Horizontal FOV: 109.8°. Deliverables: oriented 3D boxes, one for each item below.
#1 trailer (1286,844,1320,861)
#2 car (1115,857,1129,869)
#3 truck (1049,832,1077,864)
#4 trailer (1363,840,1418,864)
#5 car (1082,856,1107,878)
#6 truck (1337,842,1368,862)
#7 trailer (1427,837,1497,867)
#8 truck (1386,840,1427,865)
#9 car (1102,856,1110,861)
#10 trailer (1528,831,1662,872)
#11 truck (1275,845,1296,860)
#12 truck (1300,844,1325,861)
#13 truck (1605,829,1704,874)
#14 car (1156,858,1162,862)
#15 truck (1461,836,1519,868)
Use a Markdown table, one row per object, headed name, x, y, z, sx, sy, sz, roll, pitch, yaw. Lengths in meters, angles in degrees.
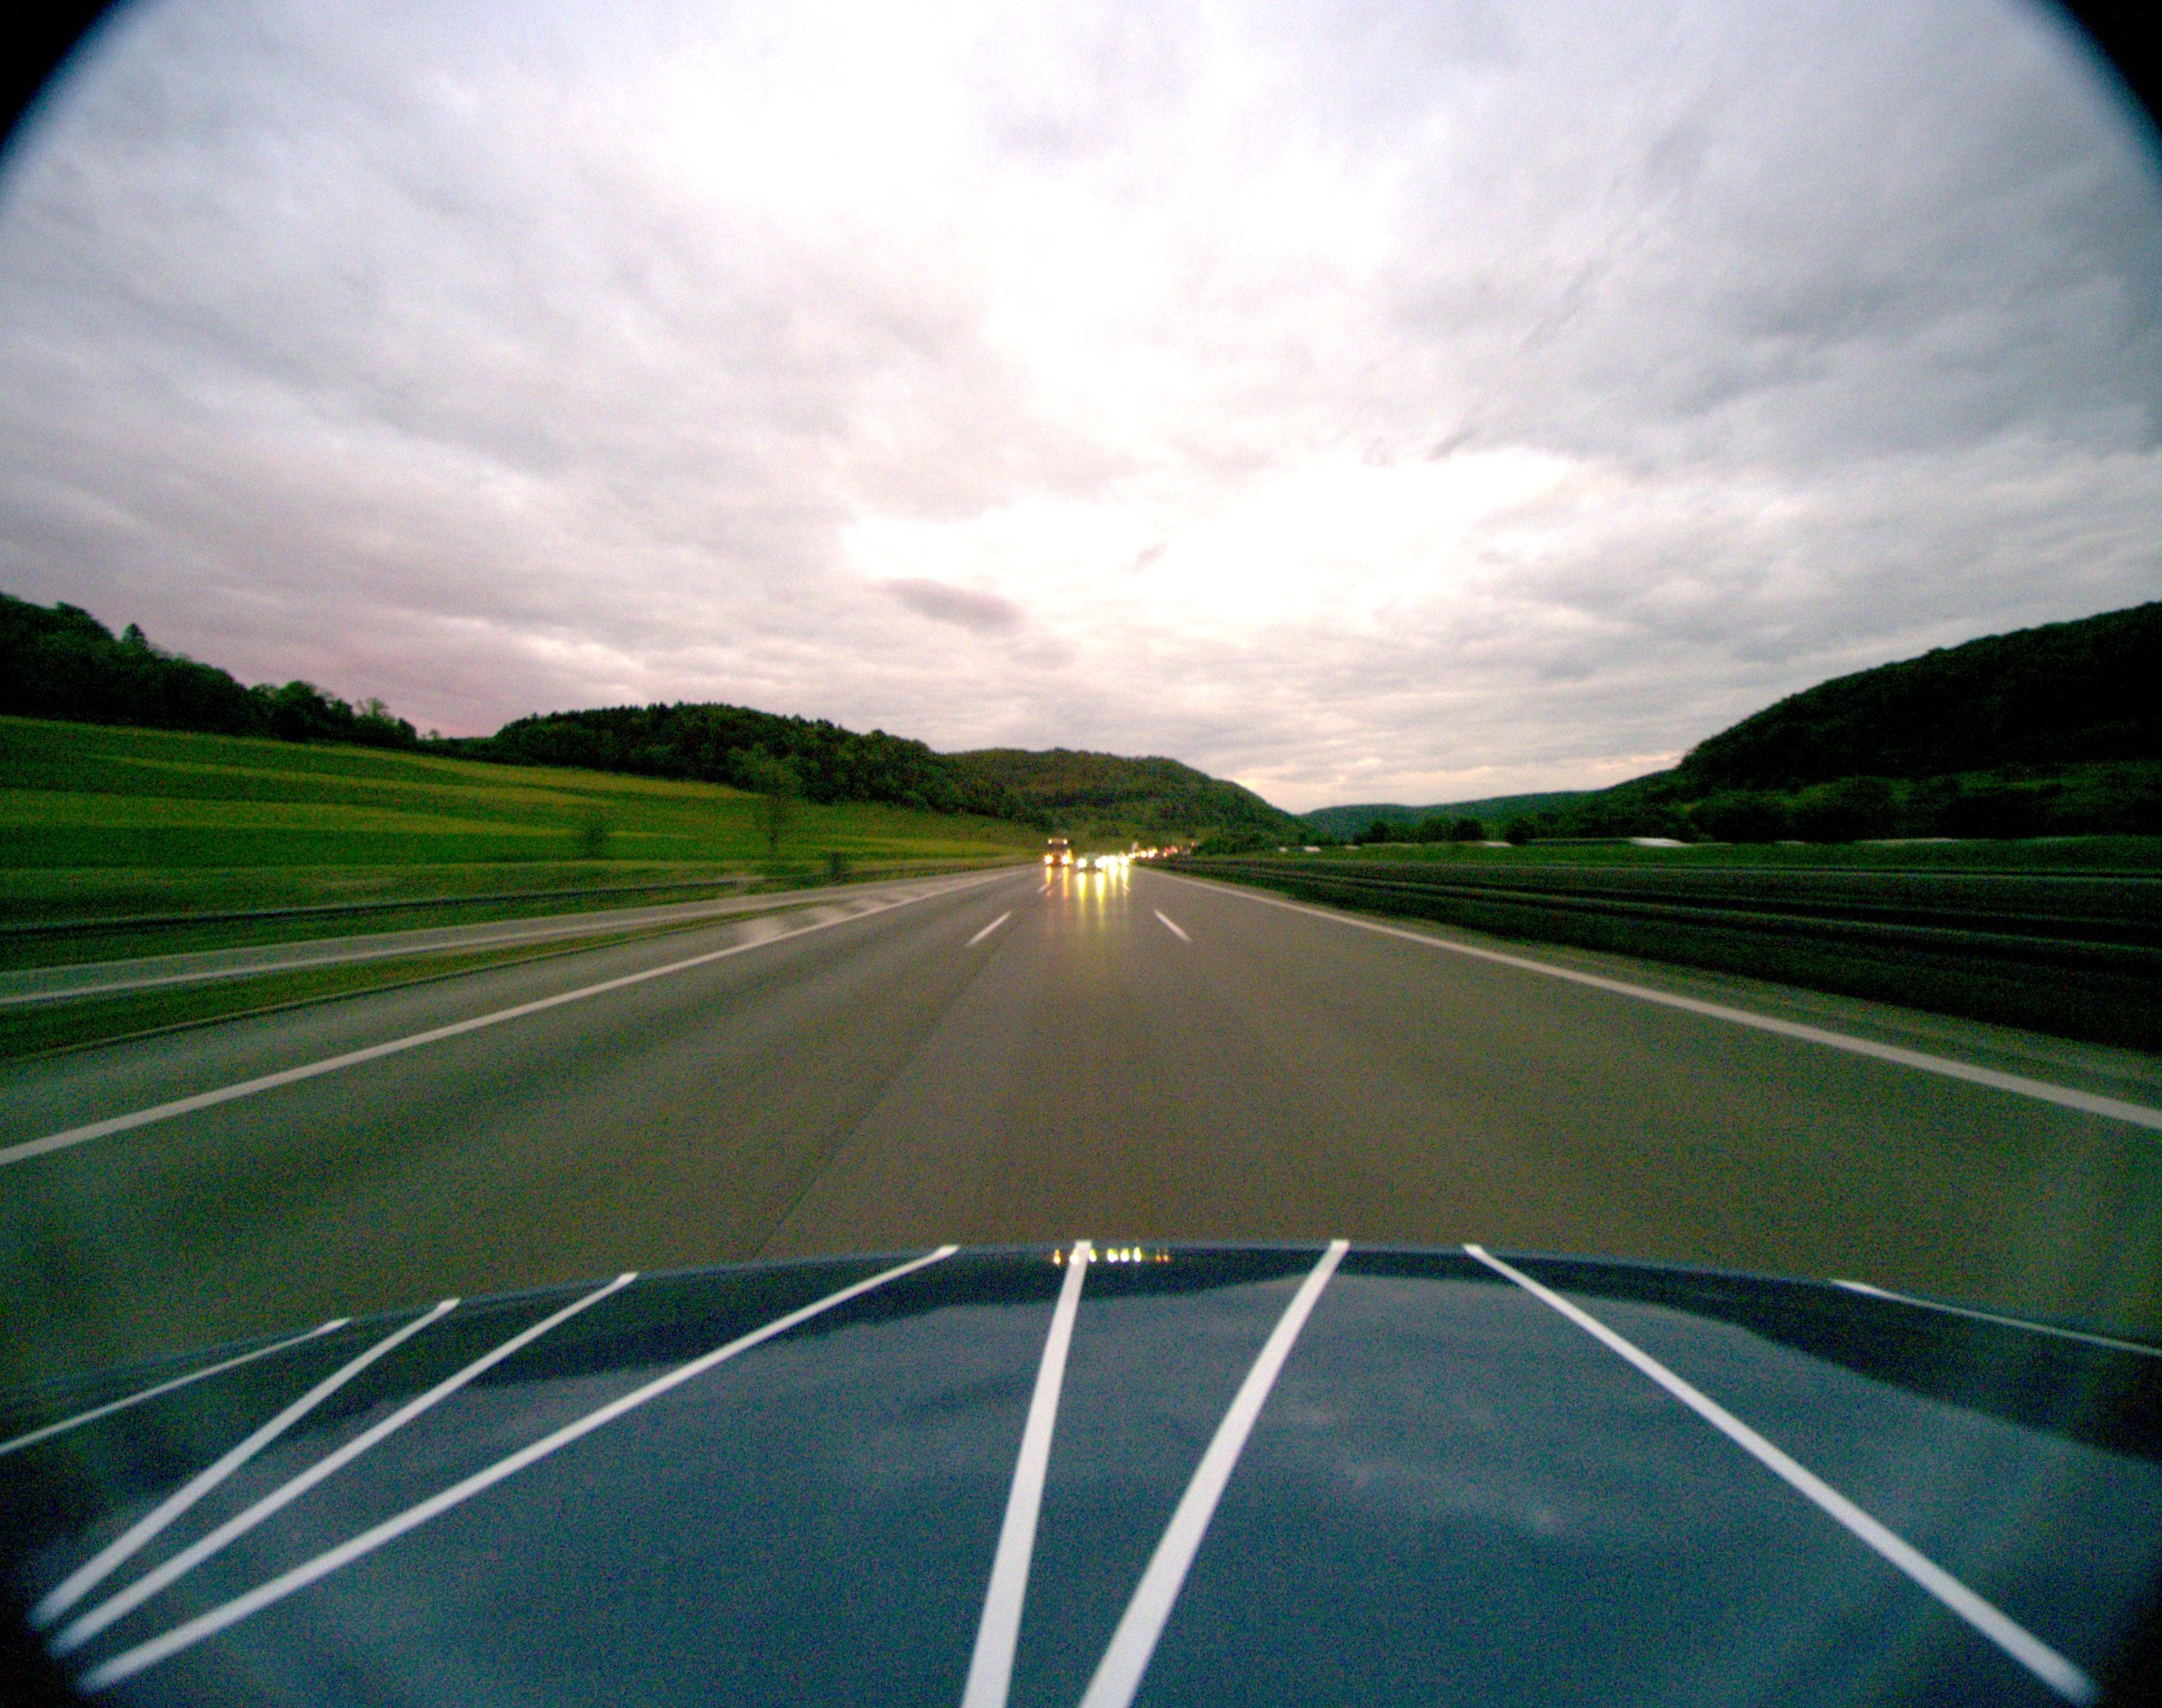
| name | x | y | z | sx | sy | sz | roll | pitch | yaw |
| --- | --- | --- | --- | --- | --- | --- | --- | --- | --- |
| trailer | 43.489 | -0.272 | 149.453 | 2.874 | 3.070 | 13.635 | -1 | 0 | 1 |
| car | 5.719 | 1.254 | 105.352 | 1.793 | 1.492 | 5.038 | -3 | 0 | 2 |
| truck | -2.259 | -0.776 | 101.293 | 3.119 | 3.850 | 14.163 | 1 | 0 | 1 |
| trailer | 42.635 | -0.229 | 105.125 | 2.874 | 3.070 | 11.814 | -1 | 0 | 1 |
| car | 1.079 | 1.008 | 62.236 | 1.927 | 1.674 | 4.806 | -1 | 0 | 0 |
| truck | 43.180 | -0.248 | 121.048 | 2.874 | 3.070 | 5.893 | -1 | 0 | 1 |
| trailer | 42.267 | -0.210 | 84.801 | 2.874 | 3.070 | 10.157 | -1 | 0 | 1 |
| truck | 42.531 | -0.224 | 99.402 | 2.874 | 3.070 | 5.893 | -1 | 0 | 1 |
| car | 6.708 | 1.235 | 204.218 | 1.932 | 1.492 | 4.134 | 1 | 0 | 2 |
| trailer | 42.013 | -0.191 | 62.916 | 2.874 | 3.070 | 12.485 | -1 | 0 | 1 |
| truck | 43.787 | -0.285 | 162.696 | 2.874 | 3.070 | 5.893 | -1 | 0 | 1 |
| truck | 43.384 | -0.266 | 142.532 | 2.874 | 3.070 | 5.842 | -1 | 0 | 1 |
| truck | 41.861 | -0.184 | 55.688 | 2.874 | 3.070 | 5.893 | -1 | 0 | 1 |
| car | 26.227 | 2.017 | 255.671 | 1.855 | 1.492 | 4.134 | 1 | 0 | 2 |
| truck | 42.144 | -0.204 | 78.499 | 2.874 | 3.070 | 5.893 | -1 | 0 | 1 |
